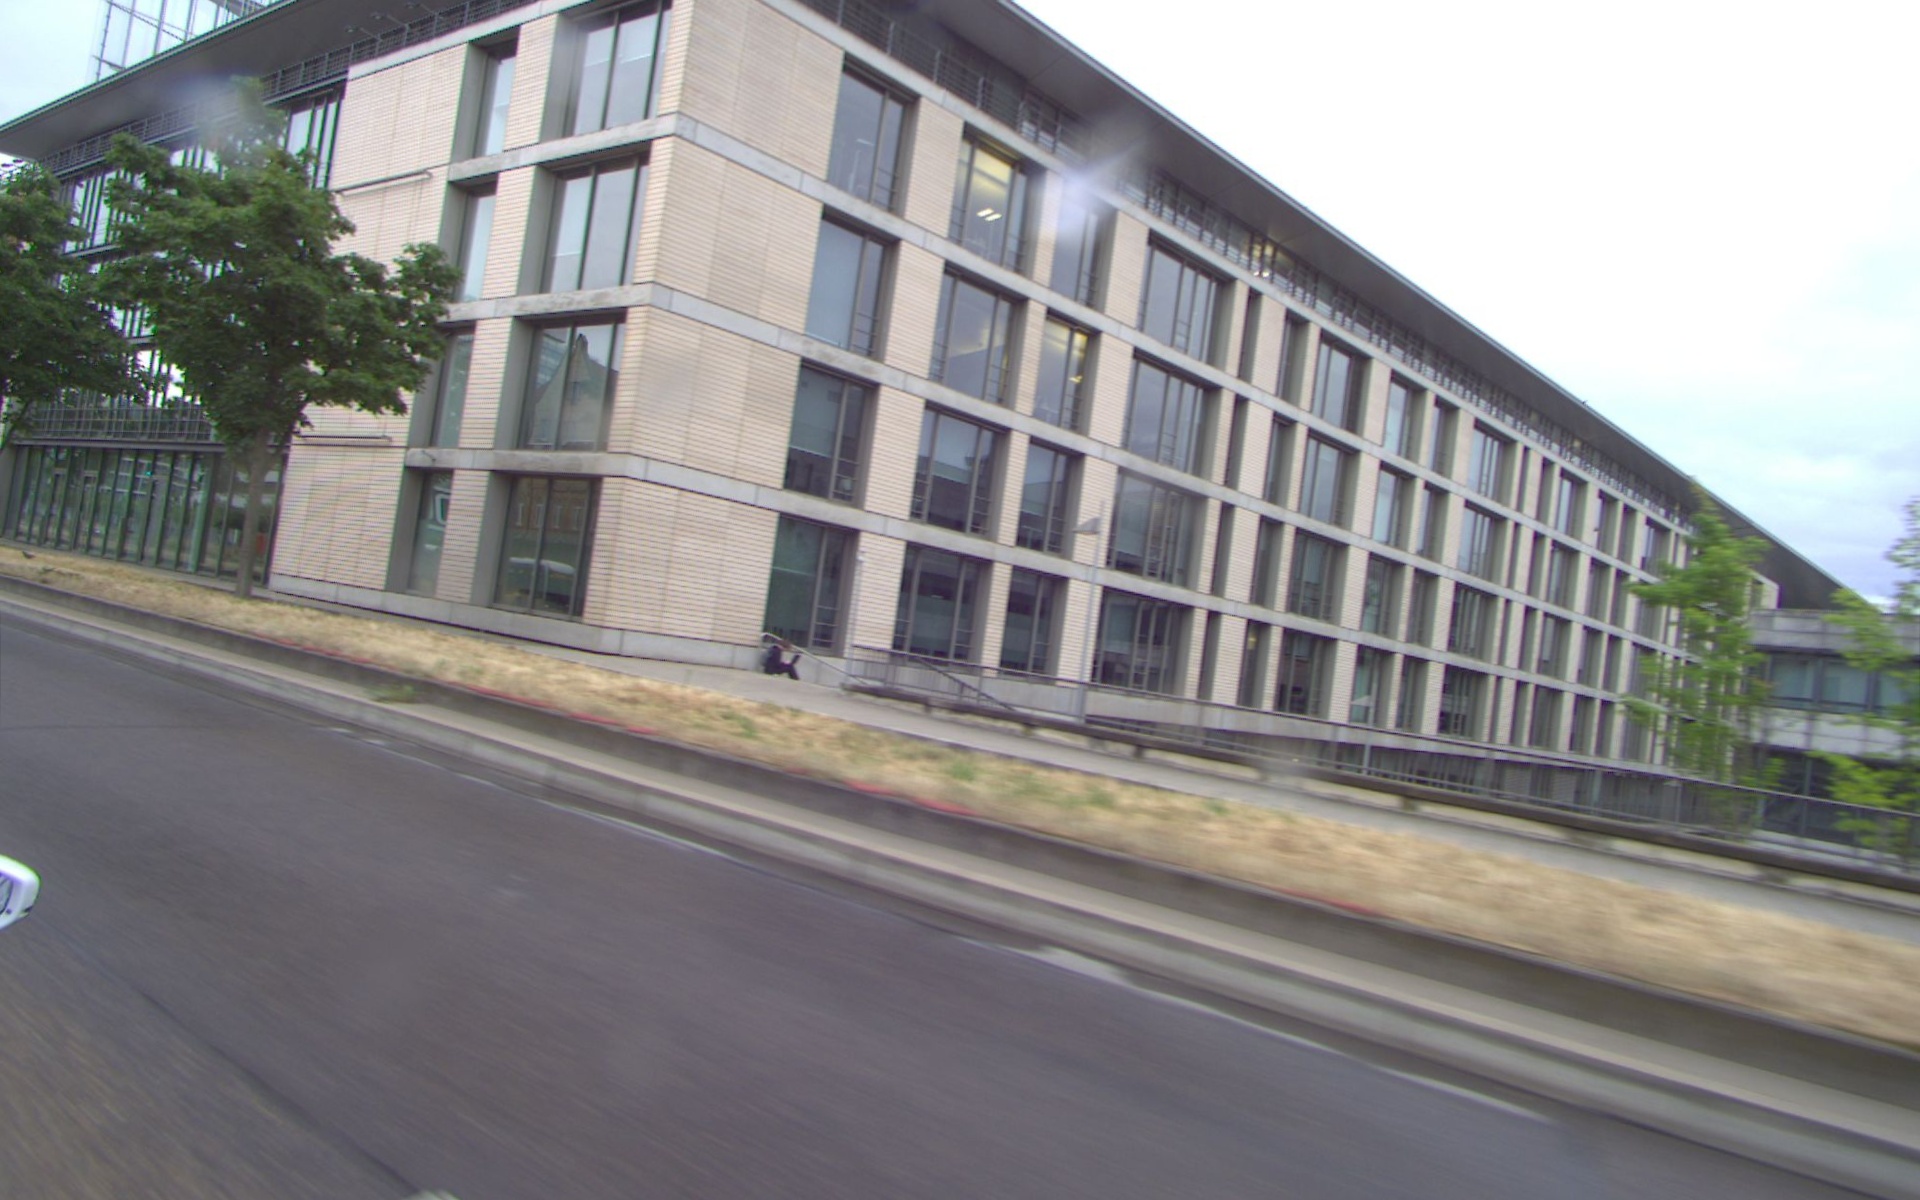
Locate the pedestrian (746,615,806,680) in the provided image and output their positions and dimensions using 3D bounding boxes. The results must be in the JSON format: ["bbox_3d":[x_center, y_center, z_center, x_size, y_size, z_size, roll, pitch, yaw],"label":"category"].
[{"bbox_3d":[-4.272,1.095,23.341,0.872,1.355,0.958,8,-2,-41],"label":"pedestrian"}]
